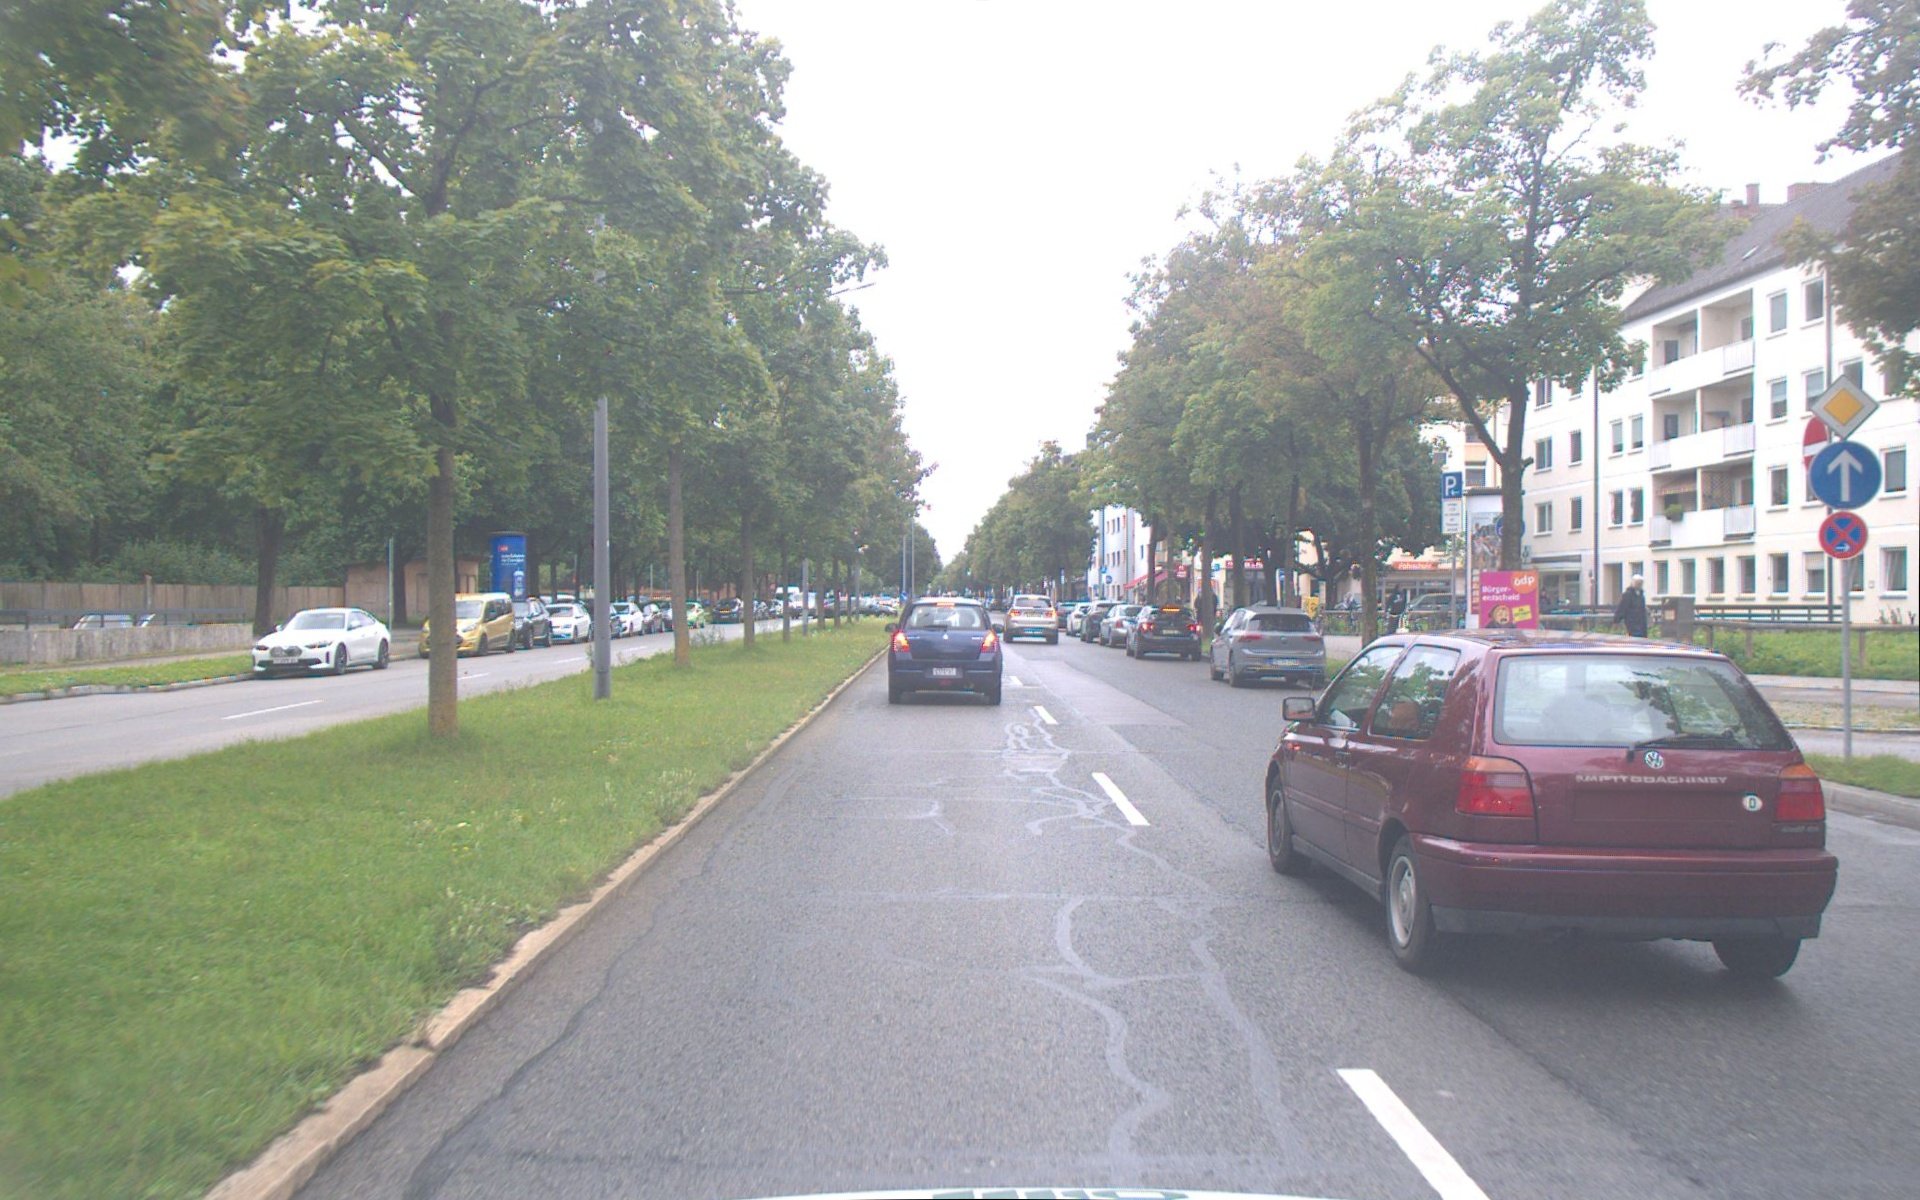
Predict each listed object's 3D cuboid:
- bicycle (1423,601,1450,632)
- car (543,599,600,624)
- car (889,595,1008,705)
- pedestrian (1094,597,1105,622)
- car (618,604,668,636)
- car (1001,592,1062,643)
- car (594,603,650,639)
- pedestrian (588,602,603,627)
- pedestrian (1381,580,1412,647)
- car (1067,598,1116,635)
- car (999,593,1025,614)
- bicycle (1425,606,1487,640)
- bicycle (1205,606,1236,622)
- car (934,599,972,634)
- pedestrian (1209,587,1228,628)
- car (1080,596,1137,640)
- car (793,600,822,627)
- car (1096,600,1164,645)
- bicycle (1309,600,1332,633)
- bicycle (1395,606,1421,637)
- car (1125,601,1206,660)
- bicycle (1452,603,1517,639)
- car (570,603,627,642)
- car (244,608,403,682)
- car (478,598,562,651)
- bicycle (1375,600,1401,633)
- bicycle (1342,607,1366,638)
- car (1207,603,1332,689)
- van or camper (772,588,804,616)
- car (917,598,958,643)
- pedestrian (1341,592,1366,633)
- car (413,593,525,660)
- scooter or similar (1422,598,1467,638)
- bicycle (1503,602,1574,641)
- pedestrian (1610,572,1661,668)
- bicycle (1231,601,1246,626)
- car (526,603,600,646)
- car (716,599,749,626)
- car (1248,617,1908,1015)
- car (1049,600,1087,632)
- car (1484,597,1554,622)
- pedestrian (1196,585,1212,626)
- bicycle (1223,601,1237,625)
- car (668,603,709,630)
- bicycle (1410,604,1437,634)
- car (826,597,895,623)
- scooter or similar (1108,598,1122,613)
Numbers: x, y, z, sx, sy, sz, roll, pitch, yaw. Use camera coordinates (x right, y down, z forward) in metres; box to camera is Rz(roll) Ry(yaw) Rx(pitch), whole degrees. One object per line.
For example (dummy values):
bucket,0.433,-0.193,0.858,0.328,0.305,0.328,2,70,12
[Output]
bicycle,16.836,0.565,58.474,0.422,1.046,1.883,-1,0,0
car,-28.446,0.863,121.248,3.843,1.748,1.670,1,0,-6
car,-0.208,0.697,25.054,1.648,1.528,3.918,0,0,-2
pedestrian,11.428,0.769,135.631,0.778,2.049,1.006,0,0,0
car,-14.896,0.923,77.803,1.558,1.421,3.631,-2,0,1
car,2.499,0.601,58.676,1.828,1.690,4.406,1,0,-2
car,-14.827,0.915,72.745,1.574,1.469,4.278,-2,0,0
pedestrian,-22.867,0.923,103.755,0.712,1.561,0.721,1,-1,0
pedestrian,11.757,0.355,44.516,0.626,1.780,0.850,-2,0,5
car,5.708,0.680,72.108,1.648,1.491,4.136,2,0,-1
car,4.286,0.296,135.907,1.828,1.712,4.222,0,0,-2
bicycle,15.778,0.735,52.639,1.840,1.046,0.432,-1,0,-4
bicycle,15.994,0.872,101.434,1.810,0.974,0.557,1,-1,-2
car,-0.320,0.728,74.364,1.648,1.488,3.733,0,0,0
pedestrian,12.133,0.338,77.724,0.714,1.923,0.919,-1,-1,-2
car,5.526,0.644,62.001,1.682,1.560,4.275,1,0,0
car,-11.537,1.010,125.521,1.763,1.967,4.992,-1,0,-1
car,5.676,0.721,55.777,1.603,1.410,4.241,1,0,-3
bicycle,12.907,0.590,59.240,0.422,1.153,1.884,-1,0,0
bicycle,15.827,0.760,58.443,0.422,1.046,1.883,-1,0,0
car,5.583,0.803,45.373,1.714,1.491,4.176,1,0,1
bicycle,15.920,0.638,50.214,1.840,1.046,0.432,-1,0,-4
car,-14.564,0.880,66.823,1.581,1.442,3.895,-2,0,-3
car,-14.576,0.990,38.196,1.819,1.498,4.874,-2,0,-1
car,-14.705,0.788,55.468,1.701,1.675,4.255,-2,0,-1
bicycle,15.137,0.579,58.531,0.422,1.120,1.883,-1,0,0
bicycle,13.996,0.793,58.756,0.422,1.046,1.883,-1,0,0
car,5.855,0.822,31.690,1.647,1.491,4.115,1,0,1
van or camper,-15.604,0.199,150.718,2.073,2.525,7.448,1,0,0
car,-0.803,0.696,57.828,1.415,1.509,3.105,0,0,-2
pedestrian,16.547,0.519,69.532,0.821,1.710,0.834,-1,-1,-2
car,-14.422,0.732,48.851,1.777,1.814,4.817,-2,0,0
scooter or similar,15.144,0.574,51.739,0.355,1.221,1.368,-1,-1,-42
bicycle,16.019,0.590,45.844,1.841,1.046,0.432,-1,0,-7
pedestrian,12.495,0.370,30.600,0.631,1.760,0.596,1,-1,-26
bicycle,13.063,0.633,77.583,0.373,1.122,1.883,1,0,0
car,-14.735,0.887,61.624,1.727,1.475,4.532,-2,0,-1
car,-15.025,0.814,109.312,1.682,1.771,3.878,1,0,-1
car,2.637,0.824,8.085,1.648,1.408,3.917,1,0,-2
car,5.366,0.804,82.448,1.584,1.491,3.673,2,0,-1
car,32.970,0.571,97.631,3.477,1.442,1.871,0,0,-3
pedestrian,11.464,0.267,77.717,0.576,1.923,0.902,-1,-1,-2
bicycle,13.029,0.624,79.890,0.381,1.124,1.853,1,0,0
car,-15.065,0.897,91.922,1.515,1.434,3.880,-2,0,2
bicycle,16.364,0.667,58.437,0.422,1.046,1.883,-1,0,0
car,-5.903,0.585,98.060,4.043,1.494,1.837,0,0,-7
scooter or similar,13.112,0.462,140.015,1.011,1.330,2.755,0,0,0
